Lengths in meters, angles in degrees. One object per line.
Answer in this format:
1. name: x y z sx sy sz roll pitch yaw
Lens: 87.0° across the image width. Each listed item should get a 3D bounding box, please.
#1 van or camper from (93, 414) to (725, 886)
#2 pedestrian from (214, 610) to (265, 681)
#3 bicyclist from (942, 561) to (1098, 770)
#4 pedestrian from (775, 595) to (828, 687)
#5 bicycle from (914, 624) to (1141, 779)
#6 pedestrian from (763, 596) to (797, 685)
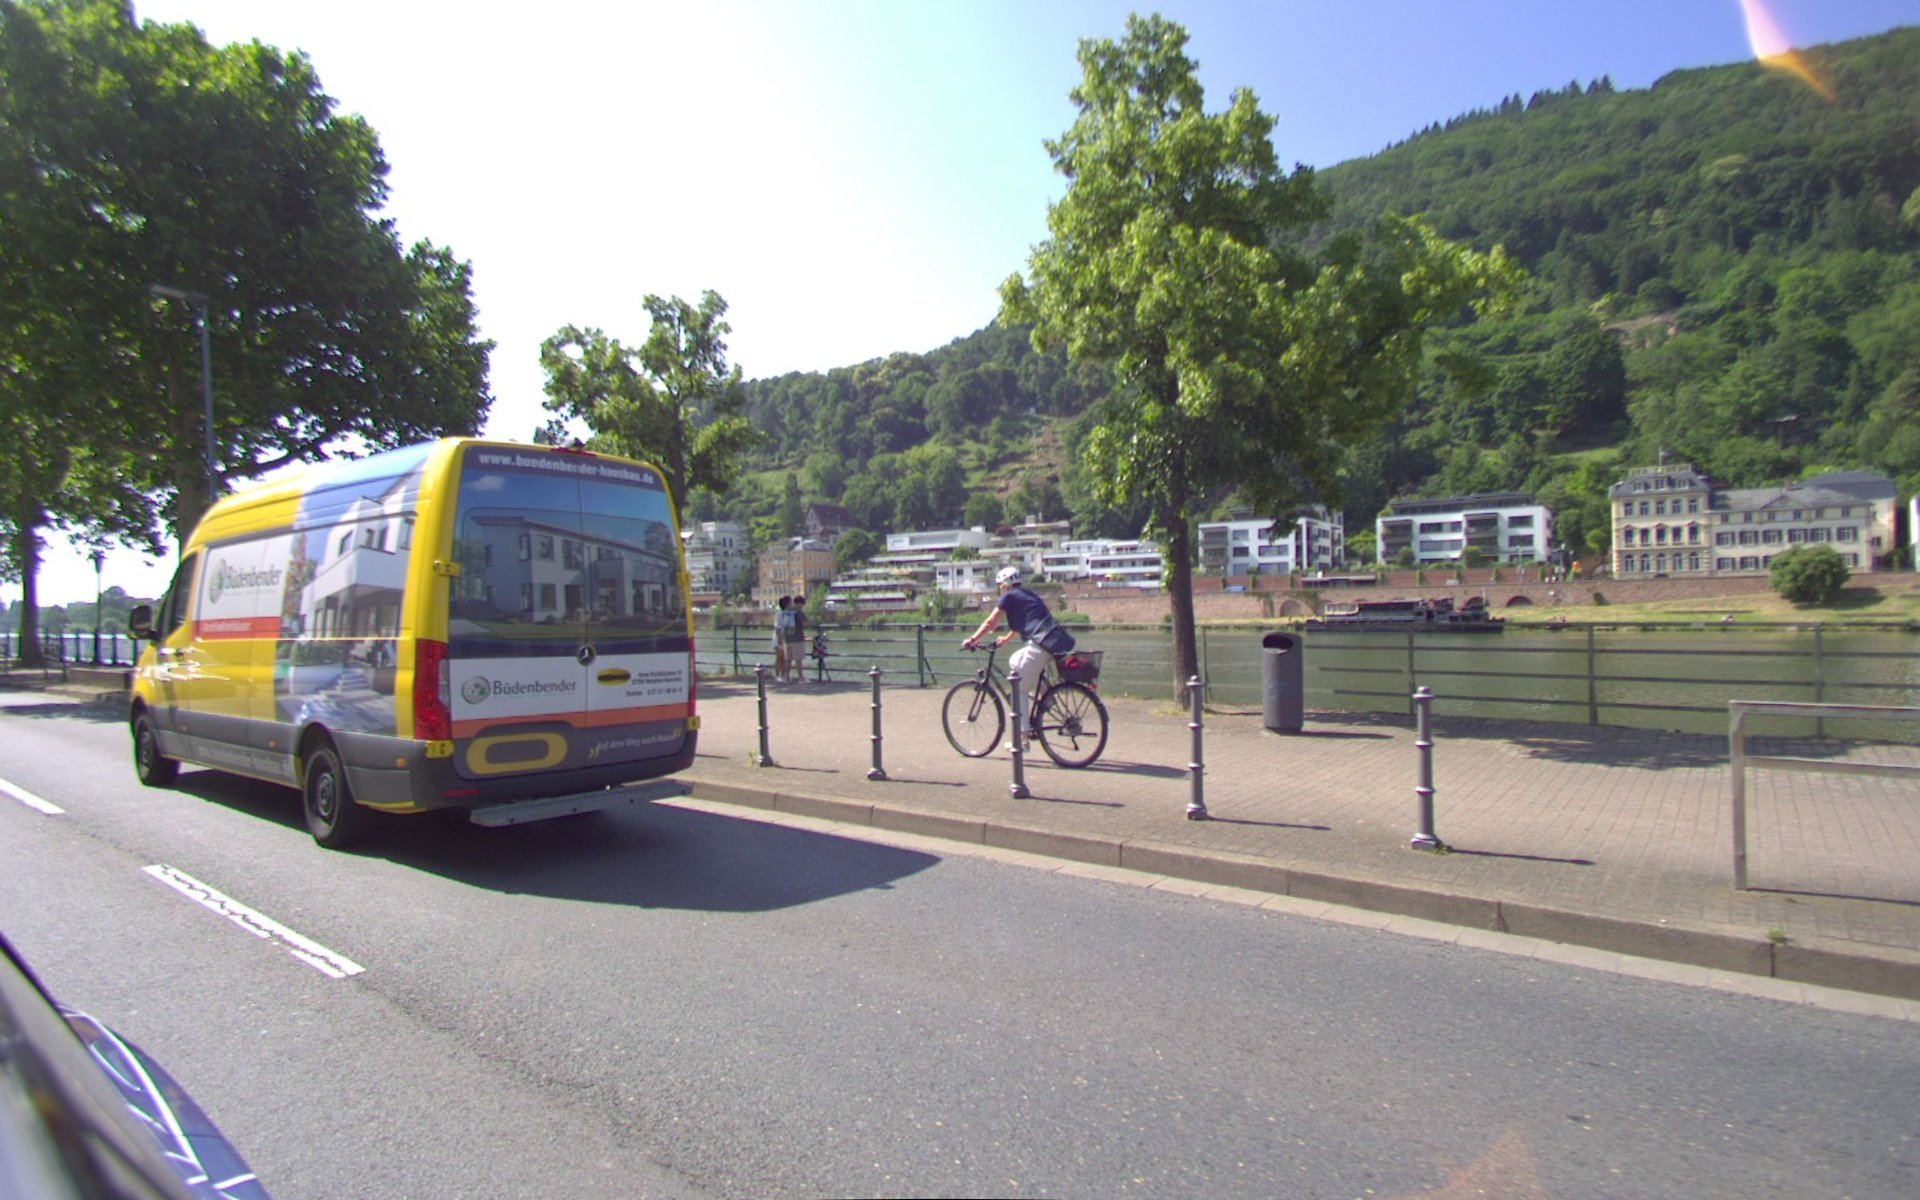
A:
1. van or camper: -5.093 0.324 8.558 7.082 2.576 2.067 -1 0 38
2. pedestrian: -16.495 1.029 23.173 0.694 1.598 0.755 -1 -1 36
3. bicyclist: 0.514 0.539 8.758 1.088 1.680 0.733 -3 -2 39
4. pedestrian: -2.888 0.729 18.412 0.664 1.628 0.686 -2 -1 45
5. bicycle: 0.539 0.822 8.739 1.895 1.177 0.704 -3 -1 41
6. pedestrian: -3.340 0.740 18.770 0.451 1.609 0.410 -2 -1 45
